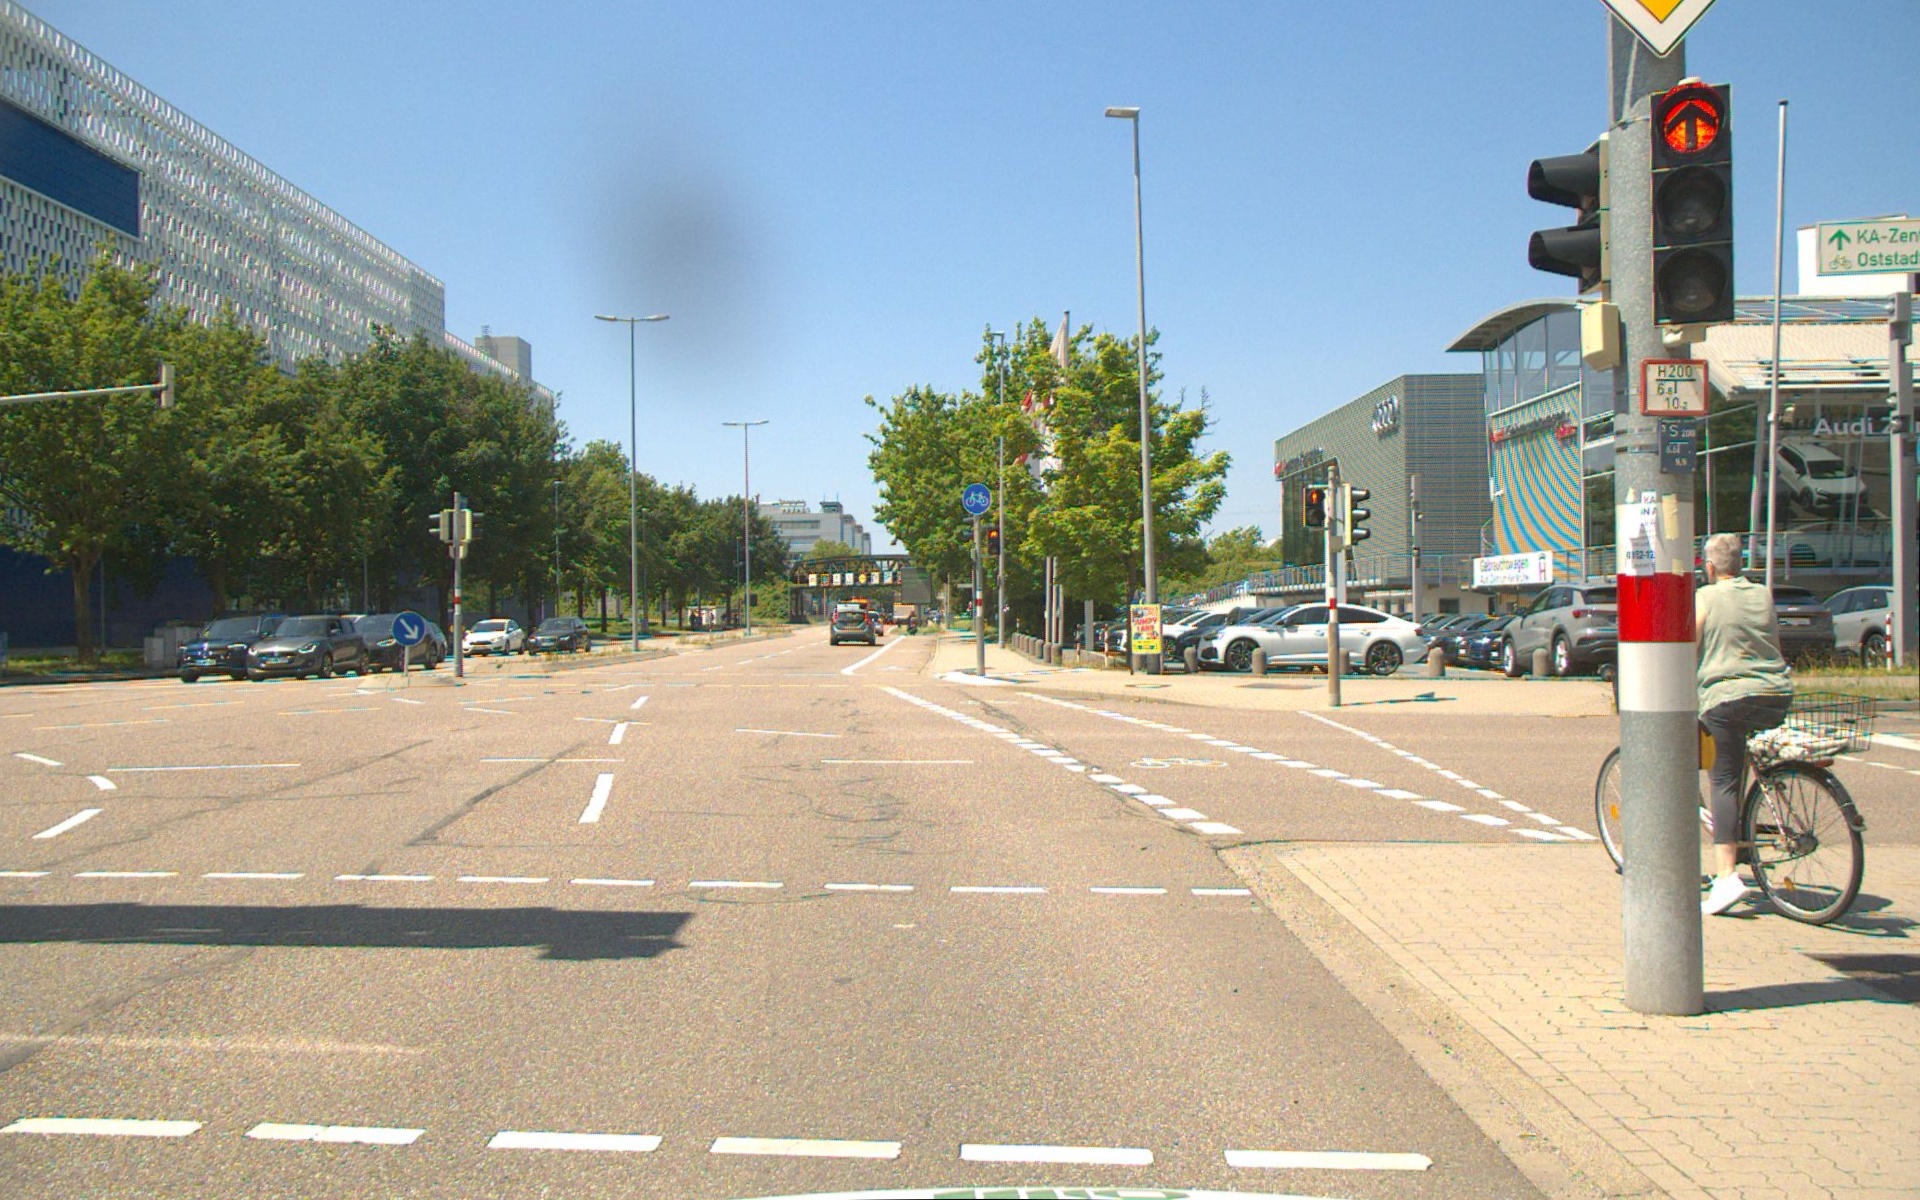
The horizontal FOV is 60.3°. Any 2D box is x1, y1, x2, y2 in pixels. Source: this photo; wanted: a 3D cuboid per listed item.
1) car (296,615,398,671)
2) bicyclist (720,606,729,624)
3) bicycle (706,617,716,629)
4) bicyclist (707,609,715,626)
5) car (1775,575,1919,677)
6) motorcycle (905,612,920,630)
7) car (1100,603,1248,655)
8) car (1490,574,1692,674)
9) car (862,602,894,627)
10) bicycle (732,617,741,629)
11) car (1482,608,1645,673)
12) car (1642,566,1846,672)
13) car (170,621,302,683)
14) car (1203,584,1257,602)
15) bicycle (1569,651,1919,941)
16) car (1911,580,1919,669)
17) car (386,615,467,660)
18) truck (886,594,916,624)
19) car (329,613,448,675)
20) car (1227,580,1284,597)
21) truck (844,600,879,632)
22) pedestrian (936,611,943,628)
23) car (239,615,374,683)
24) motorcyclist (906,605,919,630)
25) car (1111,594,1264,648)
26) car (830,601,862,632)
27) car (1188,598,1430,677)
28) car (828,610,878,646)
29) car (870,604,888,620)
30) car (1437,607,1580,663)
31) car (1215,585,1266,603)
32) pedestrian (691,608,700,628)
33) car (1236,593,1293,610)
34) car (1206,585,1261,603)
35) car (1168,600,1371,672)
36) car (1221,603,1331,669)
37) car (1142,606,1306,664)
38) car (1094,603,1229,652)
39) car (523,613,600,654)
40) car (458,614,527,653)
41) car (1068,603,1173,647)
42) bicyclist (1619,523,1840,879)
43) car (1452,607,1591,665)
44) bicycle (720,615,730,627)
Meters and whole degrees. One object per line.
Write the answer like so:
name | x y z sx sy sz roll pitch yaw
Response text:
car | -18.600 1.287 50.336 1.691 1.571 3.914 -2 -1 -1
bicyclist | -22.642 1.417 159.182 0.730 1.715 0.952 -1 -1 -2
bicycle | -23.384 2.172 155.364 0.624 1.153 1.970 -1 -1 -1
bicyclist | -23.401 1.667 155.330 0.624 1.610 0.884 -1 -1 0
car | 16.424 0.466 29.229 1.808 1.683 3.994 2 -1 -5
motorcycle | -3.033 1.340 105.842 0.703 1.124 1.825 1 -1 -10
car | 6.361 0.860 49.372 4.140 1.415 1.868 2 -1 -1
car | 11.030 0.457 29.288 1.830 1.586 4.503 -2 -2 0
car | -4.767 0.831 96.556 1.708 1.420 3.528 0 0 -1
bicycle | -23.215 2.378 171.875 0.616 1.179 2.116 -3 0 -2
car | 16.775 1.119 46.084 3.904 1.650 1.656 2 -1 -1
car | 13.651 0.388 29.061 1.806 1.683 3.999 2 -2 2
car | -18.342 1.289 42.102 1.627 1.449 4.037 -2 -1 -1
car | 21.456 -0.543 131.642 3.909 1.335 1.795 -1 -1 -5
bicycle | 3.717 0.866 8.029 0.616 1.153 1.892 0 1 -7
car | 18.713 0.479 29.043 1.604 1.644 3.814 0 1 -5
car | -18.802 1.319 58.447 1.616 1.512 3.914 -2 -1 -1
truck | -5.910 0.919 166.213 2.560 2.900 5.616 1 0 3
car | -15.405 1.166 44.777 1.691 1.531 4.243 -3 -1 0
car | 21.624 -0.825 121.076 3.862 1.232 1.715 0 -1 -5
truck | -7.675 1.240 129.932 2.408 2.452 7.132 1 0 -1
pedestrian | -1.725 1.619 138.172 0.611 1.399 0.564 -1 -1 -3
car | -15.141 1.114 38.497 1.610 1.413 3.715 -3 -1 0
motorcyclist | -3.044 1.137 105.894 0.706 1.556 0.868 1 -1 -11
car | 6.362 0.587 46.528 4.016 1.372 1.868 2 -1 -1
car | -7.706 1.132 112.329 1.953 2.049 3.998 -1 0 -2
car | 6.968 0.739 33.352 4.497 1.415 1.869 2 -1 1
car | -4.383 1.139 68.363 1.862 1.400 4.230 -1 0 -2
car | -10.385 1.557 212.644 1.952 2.049 4.001 -2 0 2
car | 17.093 1.087 51.618 3.901 1.601 1.633 2 -1 -1
car | 21.247 -0.466 125.366 3.455 1.261 1.675 1 -1 -5
pedestrian | -25.426 1.775 159.147 0.728 1.917 0.577 -1 -1 0
car | 21.480 0.096 116.888 3.652 1.150 1.682 1 -1 -5
car | 21.263 -0.454 128.623 3.909 1.335 1.795 1 -1 -5
car | 6.633 0.766 35.733 4.013 1.415 1.868 2 -1 -1
car | 7.525 0.841 39.786 1.824 1.444 4.663 2 -1 1
car | 6.942 0.908 43.775 4.013 1.388 1.874 2 -1 -1
car | 6.341 0.861 52.304 4.017 1.429 1.868 2 -1 -1
car | -15.605 1.319 64.967 1.691 1.471 4.720 -3 -1 2
car | -18.983 1.363 67.318 1.708 1.512 3.999 -2 -1 -1
car | 5.833 0.903 60.375 3.607 1.479 1.833 2 -1 -1
bicyclist | 3.719 0.468 8.046 0.616 1.634 0.824 1 -1 -8
car | 16.709 1.066 49.290 3.573 1.608 1.642 2 -1 -1
bicycle | -22.637 1.998 159.341 0.724 1.145 2.433 -1 0 -2
